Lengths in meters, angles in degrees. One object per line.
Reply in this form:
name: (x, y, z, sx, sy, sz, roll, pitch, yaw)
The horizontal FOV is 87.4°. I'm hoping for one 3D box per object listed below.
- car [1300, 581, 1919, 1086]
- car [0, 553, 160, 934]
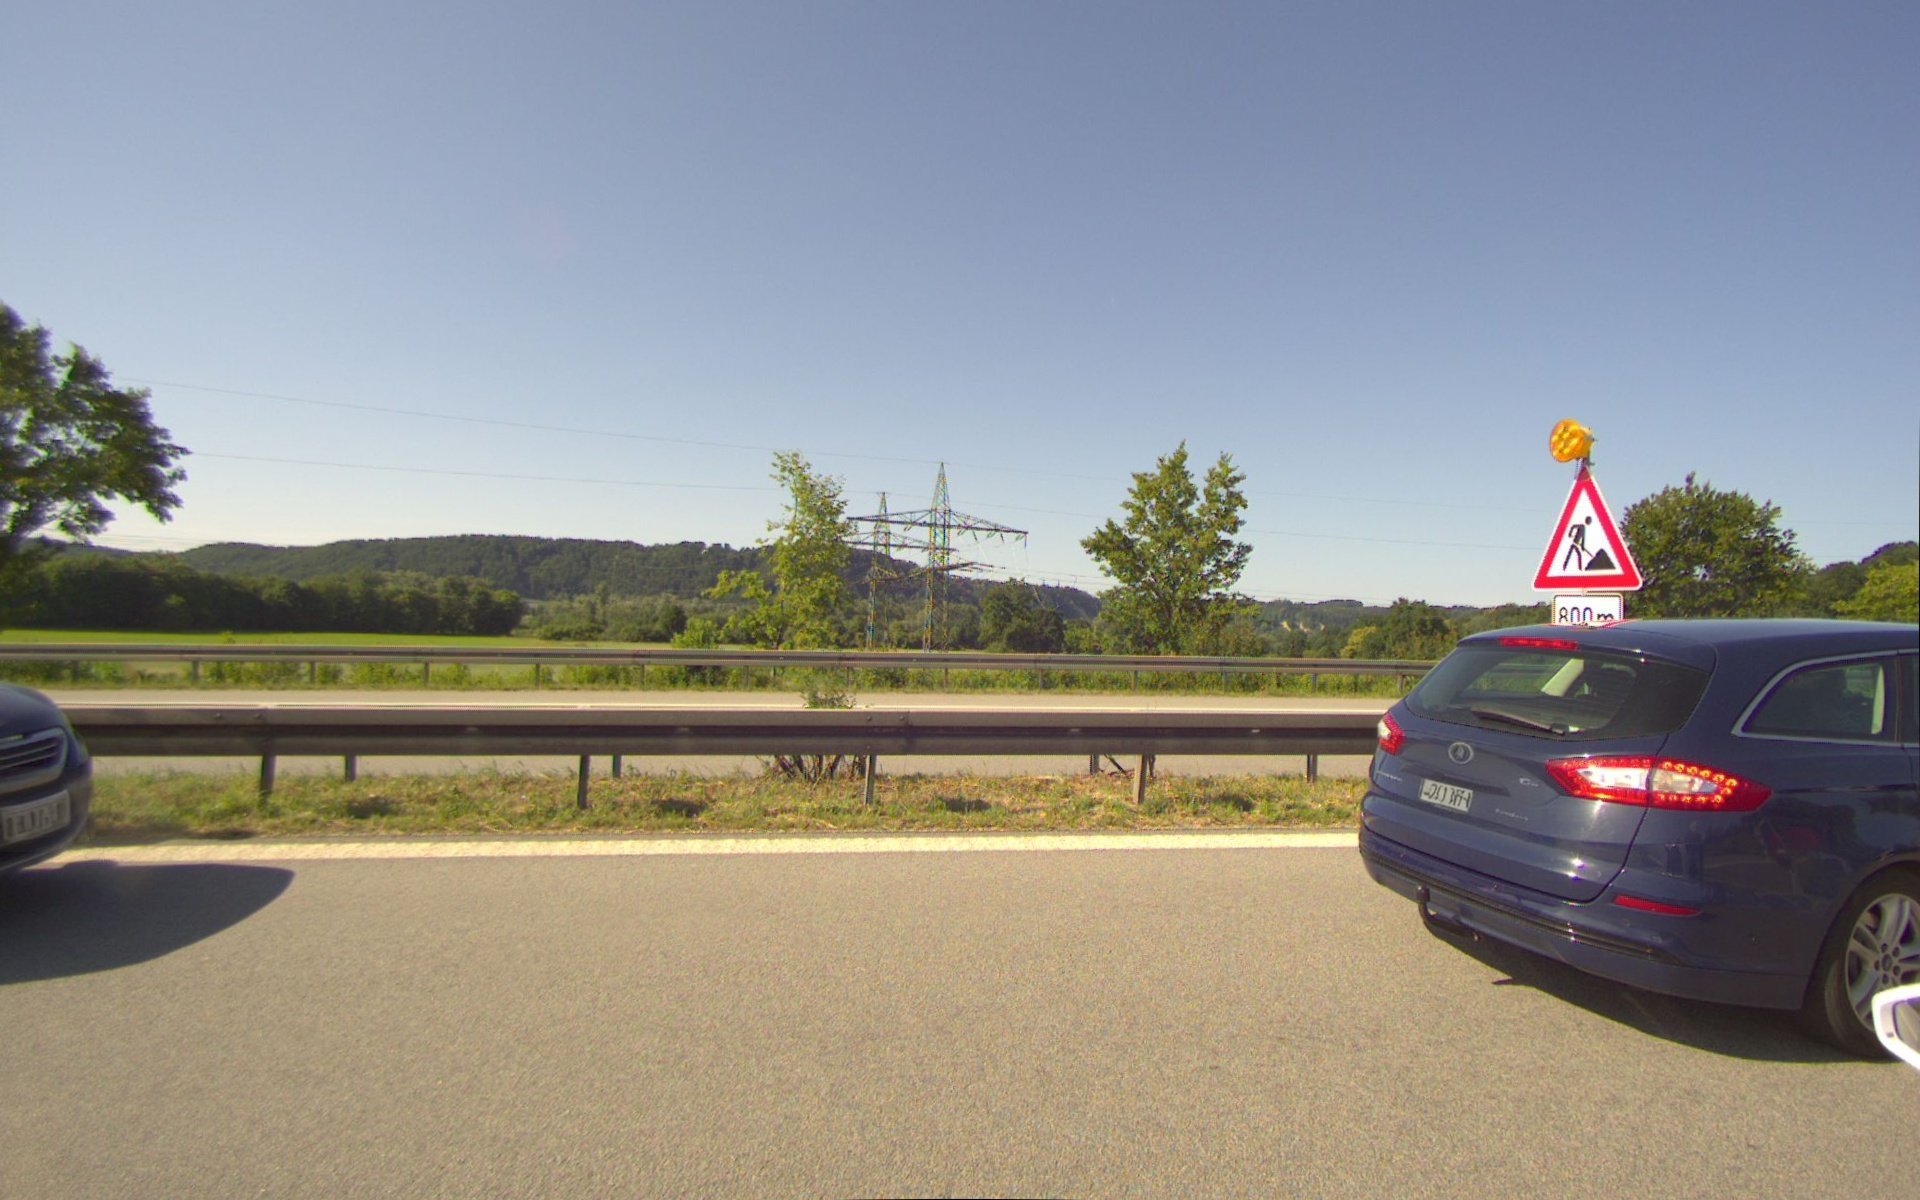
car: (3.969, 0.762, 4.509, 4.420, 1.513, 1.788, 1, -1, -17)
car: (-5.843, 0.540, 3.922, 3.879, 1.555, 1.689, 1, 1, -11)
